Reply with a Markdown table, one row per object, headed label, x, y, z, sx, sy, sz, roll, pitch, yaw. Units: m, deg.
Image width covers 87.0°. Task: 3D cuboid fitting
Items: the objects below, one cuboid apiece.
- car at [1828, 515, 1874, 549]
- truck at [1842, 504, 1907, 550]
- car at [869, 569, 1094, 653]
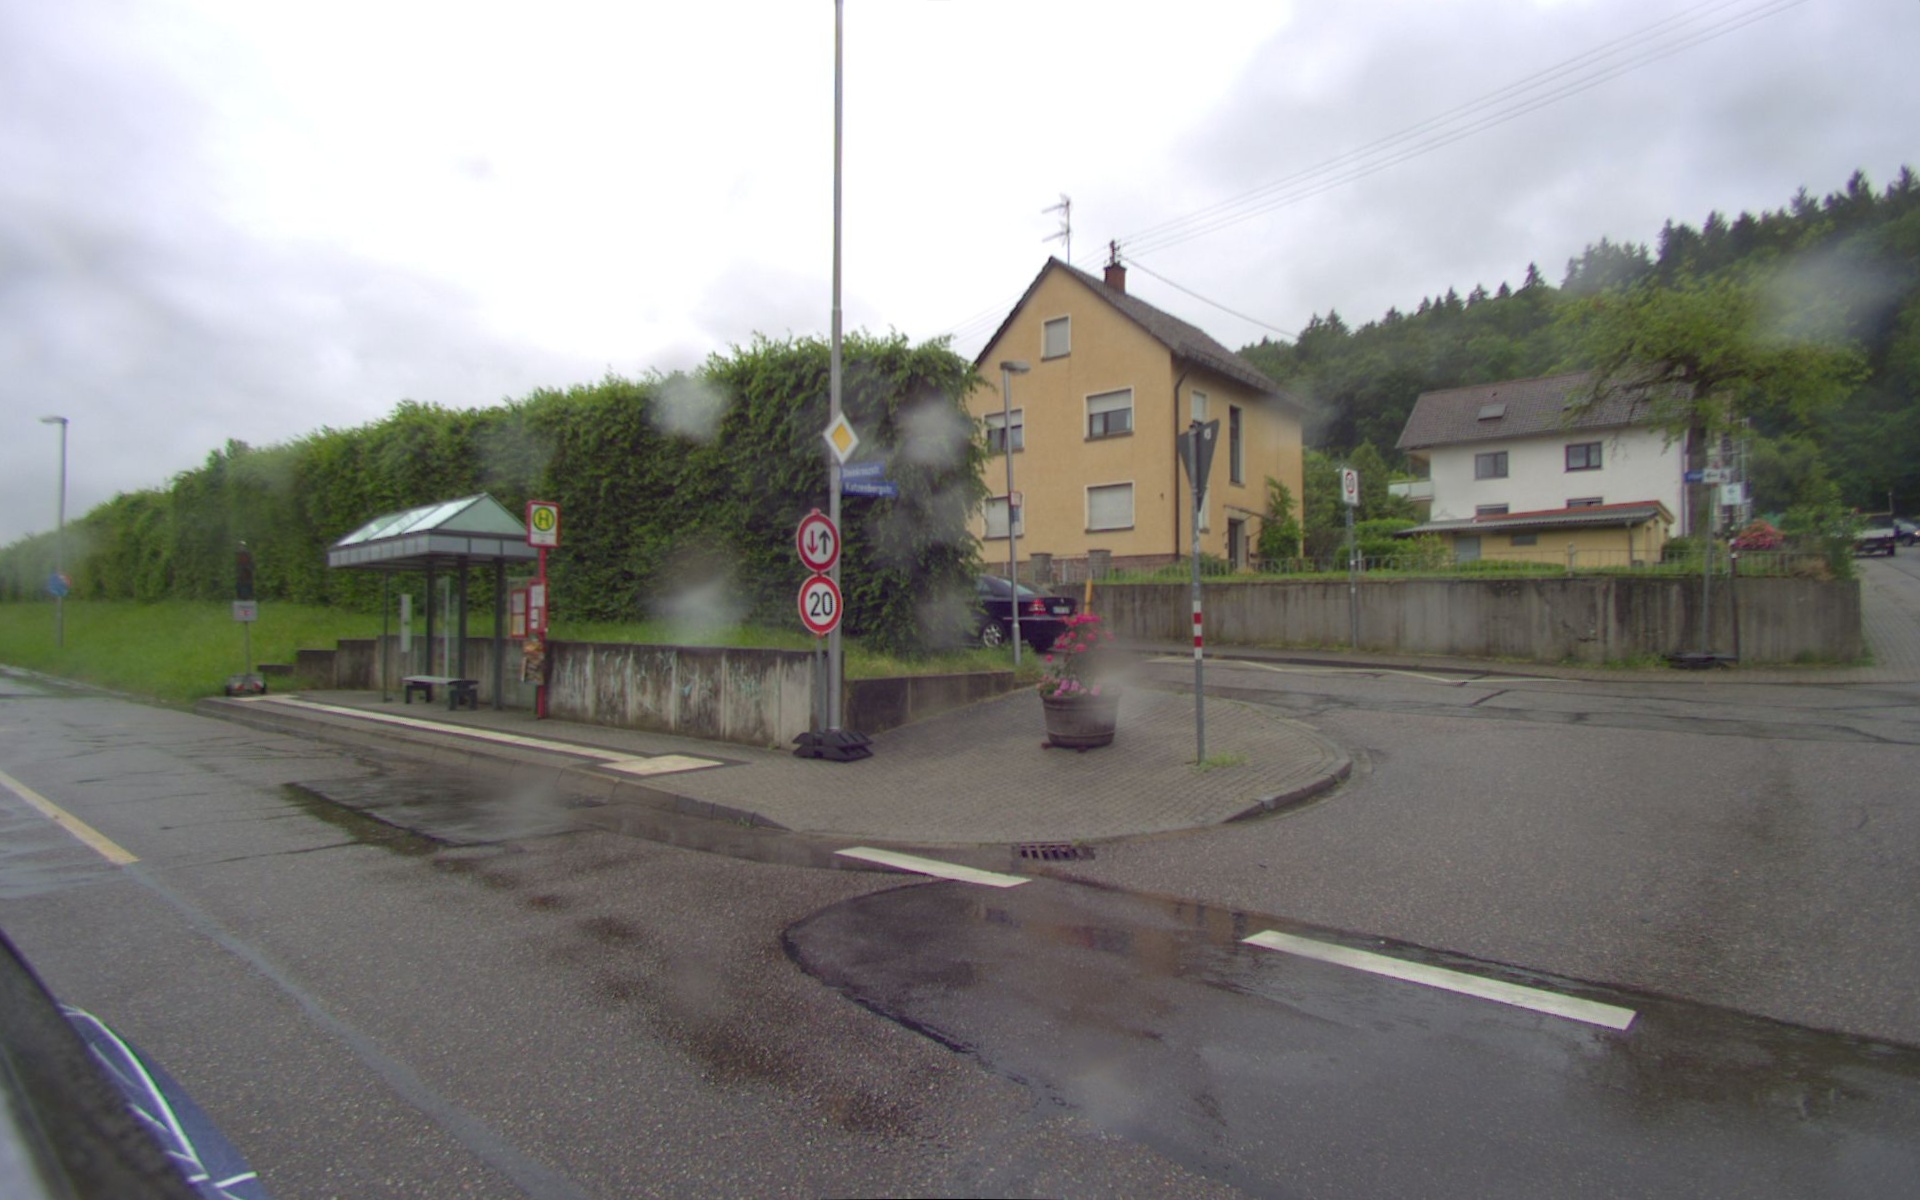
| label | x | y | z | sx | sy | sz | roll | pitch | yaw |
| --- | --- | --- | --- | --- | --- | --- | --- | --- | --- |
| car | 57.572 | -4.346 | 65.431 | 1.913 | 2.028 | 3.951 | 0 | 2 | 37 |
| truck | 48.361 | -3.793 | 53.606 | 2.298 | 2.142 | 5.999 | -1 | 1 | 40 |
| car | 0.333 | 0.153 | 19.622 | 4.220 | 1.399 | 1.726 | 2 | 1 | 40 |
